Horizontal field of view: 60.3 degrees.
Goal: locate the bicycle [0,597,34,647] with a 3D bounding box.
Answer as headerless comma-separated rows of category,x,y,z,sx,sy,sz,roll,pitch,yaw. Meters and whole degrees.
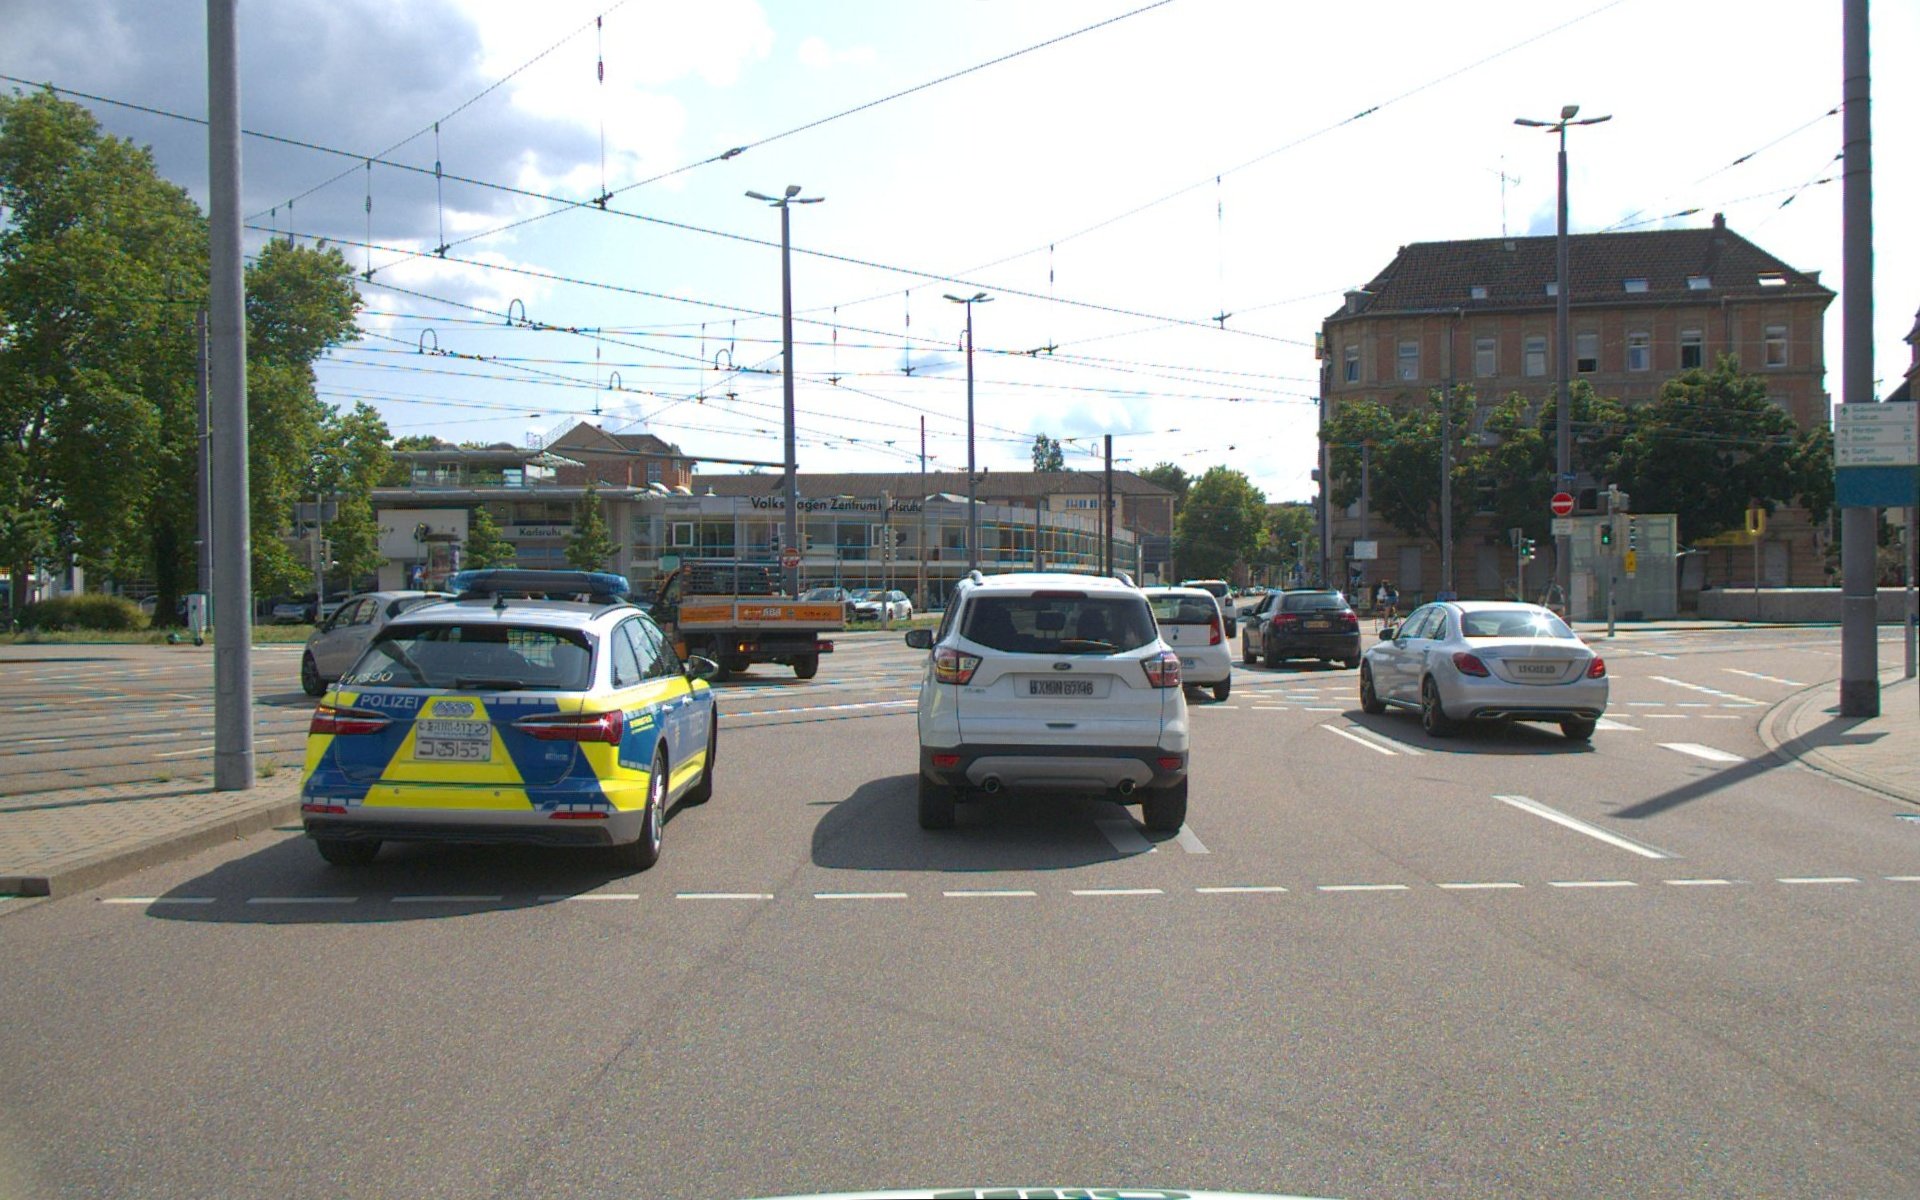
bicycle,-28.416,0.643,48.465,2.138,1.439,0.807,0,0,-22

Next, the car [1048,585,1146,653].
car,3.044,0.409,37.507,1.812,1.444,3.677,0,0,-2

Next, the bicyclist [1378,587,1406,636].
bicyclist,13.152,0.332,50.407,0.596,1.476,0.773,0,0,-5

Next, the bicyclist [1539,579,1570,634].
bicyclist,14.086,0.151,39.195,0.621,1.241,0.924,-2,1,19

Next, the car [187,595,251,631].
car,-43.327,0.775,96.787,1.930,1.971,5.060,-2,-1,-7

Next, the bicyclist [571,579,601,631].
bicyclist,-12.659,0.165,56.018,0.743,1.712,0.761,-1,0,8

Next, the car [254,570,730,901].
car,-2.595,0.658,10.374,1.842,1.595,4.613,1,0,-3

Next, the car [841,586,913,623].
car,-3.514,0.187,70.345,1.859,1.487,3.971,-1,0,16

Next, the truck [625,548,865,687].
truck,-3.941,0.267,29.161,2.312,2.193,5.797,-1,0,-28

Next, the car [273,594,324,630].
car,-38.563,0.712,96.500,1.932,1.971,4.220,-2,-1,-11

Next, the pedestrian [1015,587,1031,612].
pedestrian,4.481,-0.041,117.441,0.858,1.767,0.875,1,-1,29

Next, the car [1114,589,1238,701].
car,3.041,0.588,23.884,1.614,1.446,4.003,-1,0,5

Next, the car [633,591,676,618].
car,-18.933,0.286,102.645,1.781,1.560,3.917,-2,-1,1

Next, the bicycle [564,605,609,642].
bicycle,-12.648,0.789,56.090,0.743,1.213,2.152,-1,0,8

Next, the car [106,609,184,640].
car,-50.789,1.540,103.100,3.904,1.821,1.842,-2,-1,1

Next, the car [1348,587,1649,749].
car,6.063,0.679,19.282,1.891,1.480,4.759,1,2,-1

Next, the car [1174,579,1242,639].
car,7.236,0.283,48.609,1.797,1.681,4.003,0,-1,6

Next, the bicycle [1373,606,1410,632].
bicycle,13.160,0.572,50.456,0.573,0.789,1.619,-1,0,-5

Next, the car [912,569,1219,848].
car,0.597,0.675,12.137,1.790,1.693,3.953,1,0,-3

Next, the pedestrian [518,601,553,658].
pedestrian,-13.262,0.915,51.705,0.913,1.774,0.584,2,-1,-27

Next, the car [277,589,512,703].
car,-8.230,0.602,23.907,1.838,1.500,3.939,-1,0,-42

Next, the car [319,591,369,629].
car,-35.945,0.600,96.555,1.958,2.049,4.220,-2,-1,-11

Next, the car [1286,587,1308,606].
car,30.484,-0.310,149.703,1.797,1.681,4.003,0,-1,13

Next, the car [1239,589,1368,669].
car,6.410,0.498,31.238,1.663,1.396,4.133,0,0,1

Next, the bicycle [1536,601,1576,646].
bicycle,14.126,0.548,39.207,0.829,0.987,1.962,-1,0,19
